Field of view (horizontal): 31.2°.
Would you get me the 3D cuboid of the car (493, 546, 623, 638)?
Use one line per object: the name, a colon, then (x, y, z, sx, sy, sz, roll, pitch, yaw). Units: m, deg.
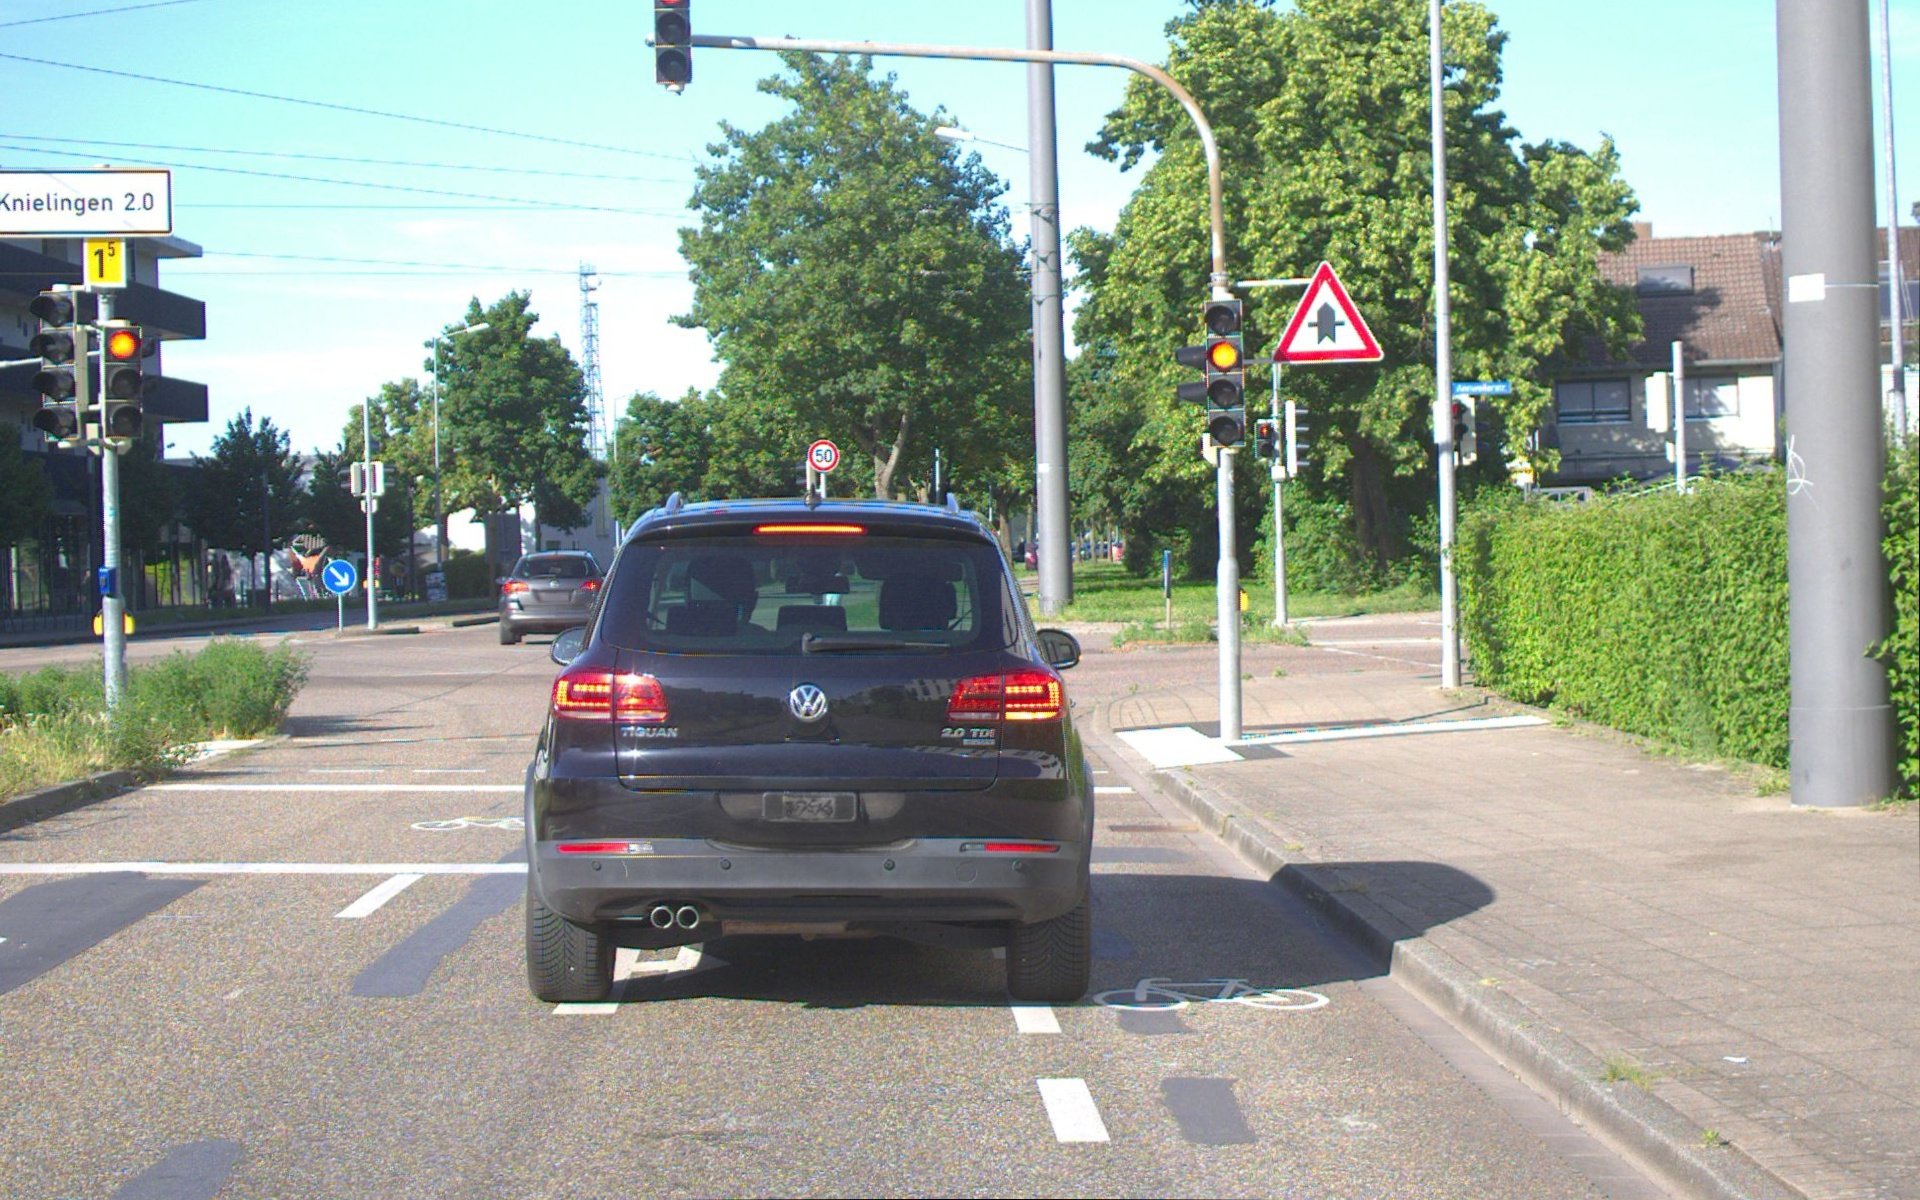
car: (-6.370, -0.155, 54.841, 1.751, 1.382, 4.001, 0, 1, -2)

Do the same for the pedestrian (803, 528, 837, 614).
pedestrian: (-2.678, -0.551, 65.727, 0.603, 1.634, 0.529, 0, 1, 4)

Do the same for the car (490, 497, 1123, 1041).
car: (-0.538, 0.467, 12.378, 1.905, 1.637, 4.001, 0, 1, -2)

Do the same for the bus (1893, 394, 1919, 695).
bus: (18.998, -0.687, 41.942, 14.631, 3.658, 2.848, 0, 1, -6)
